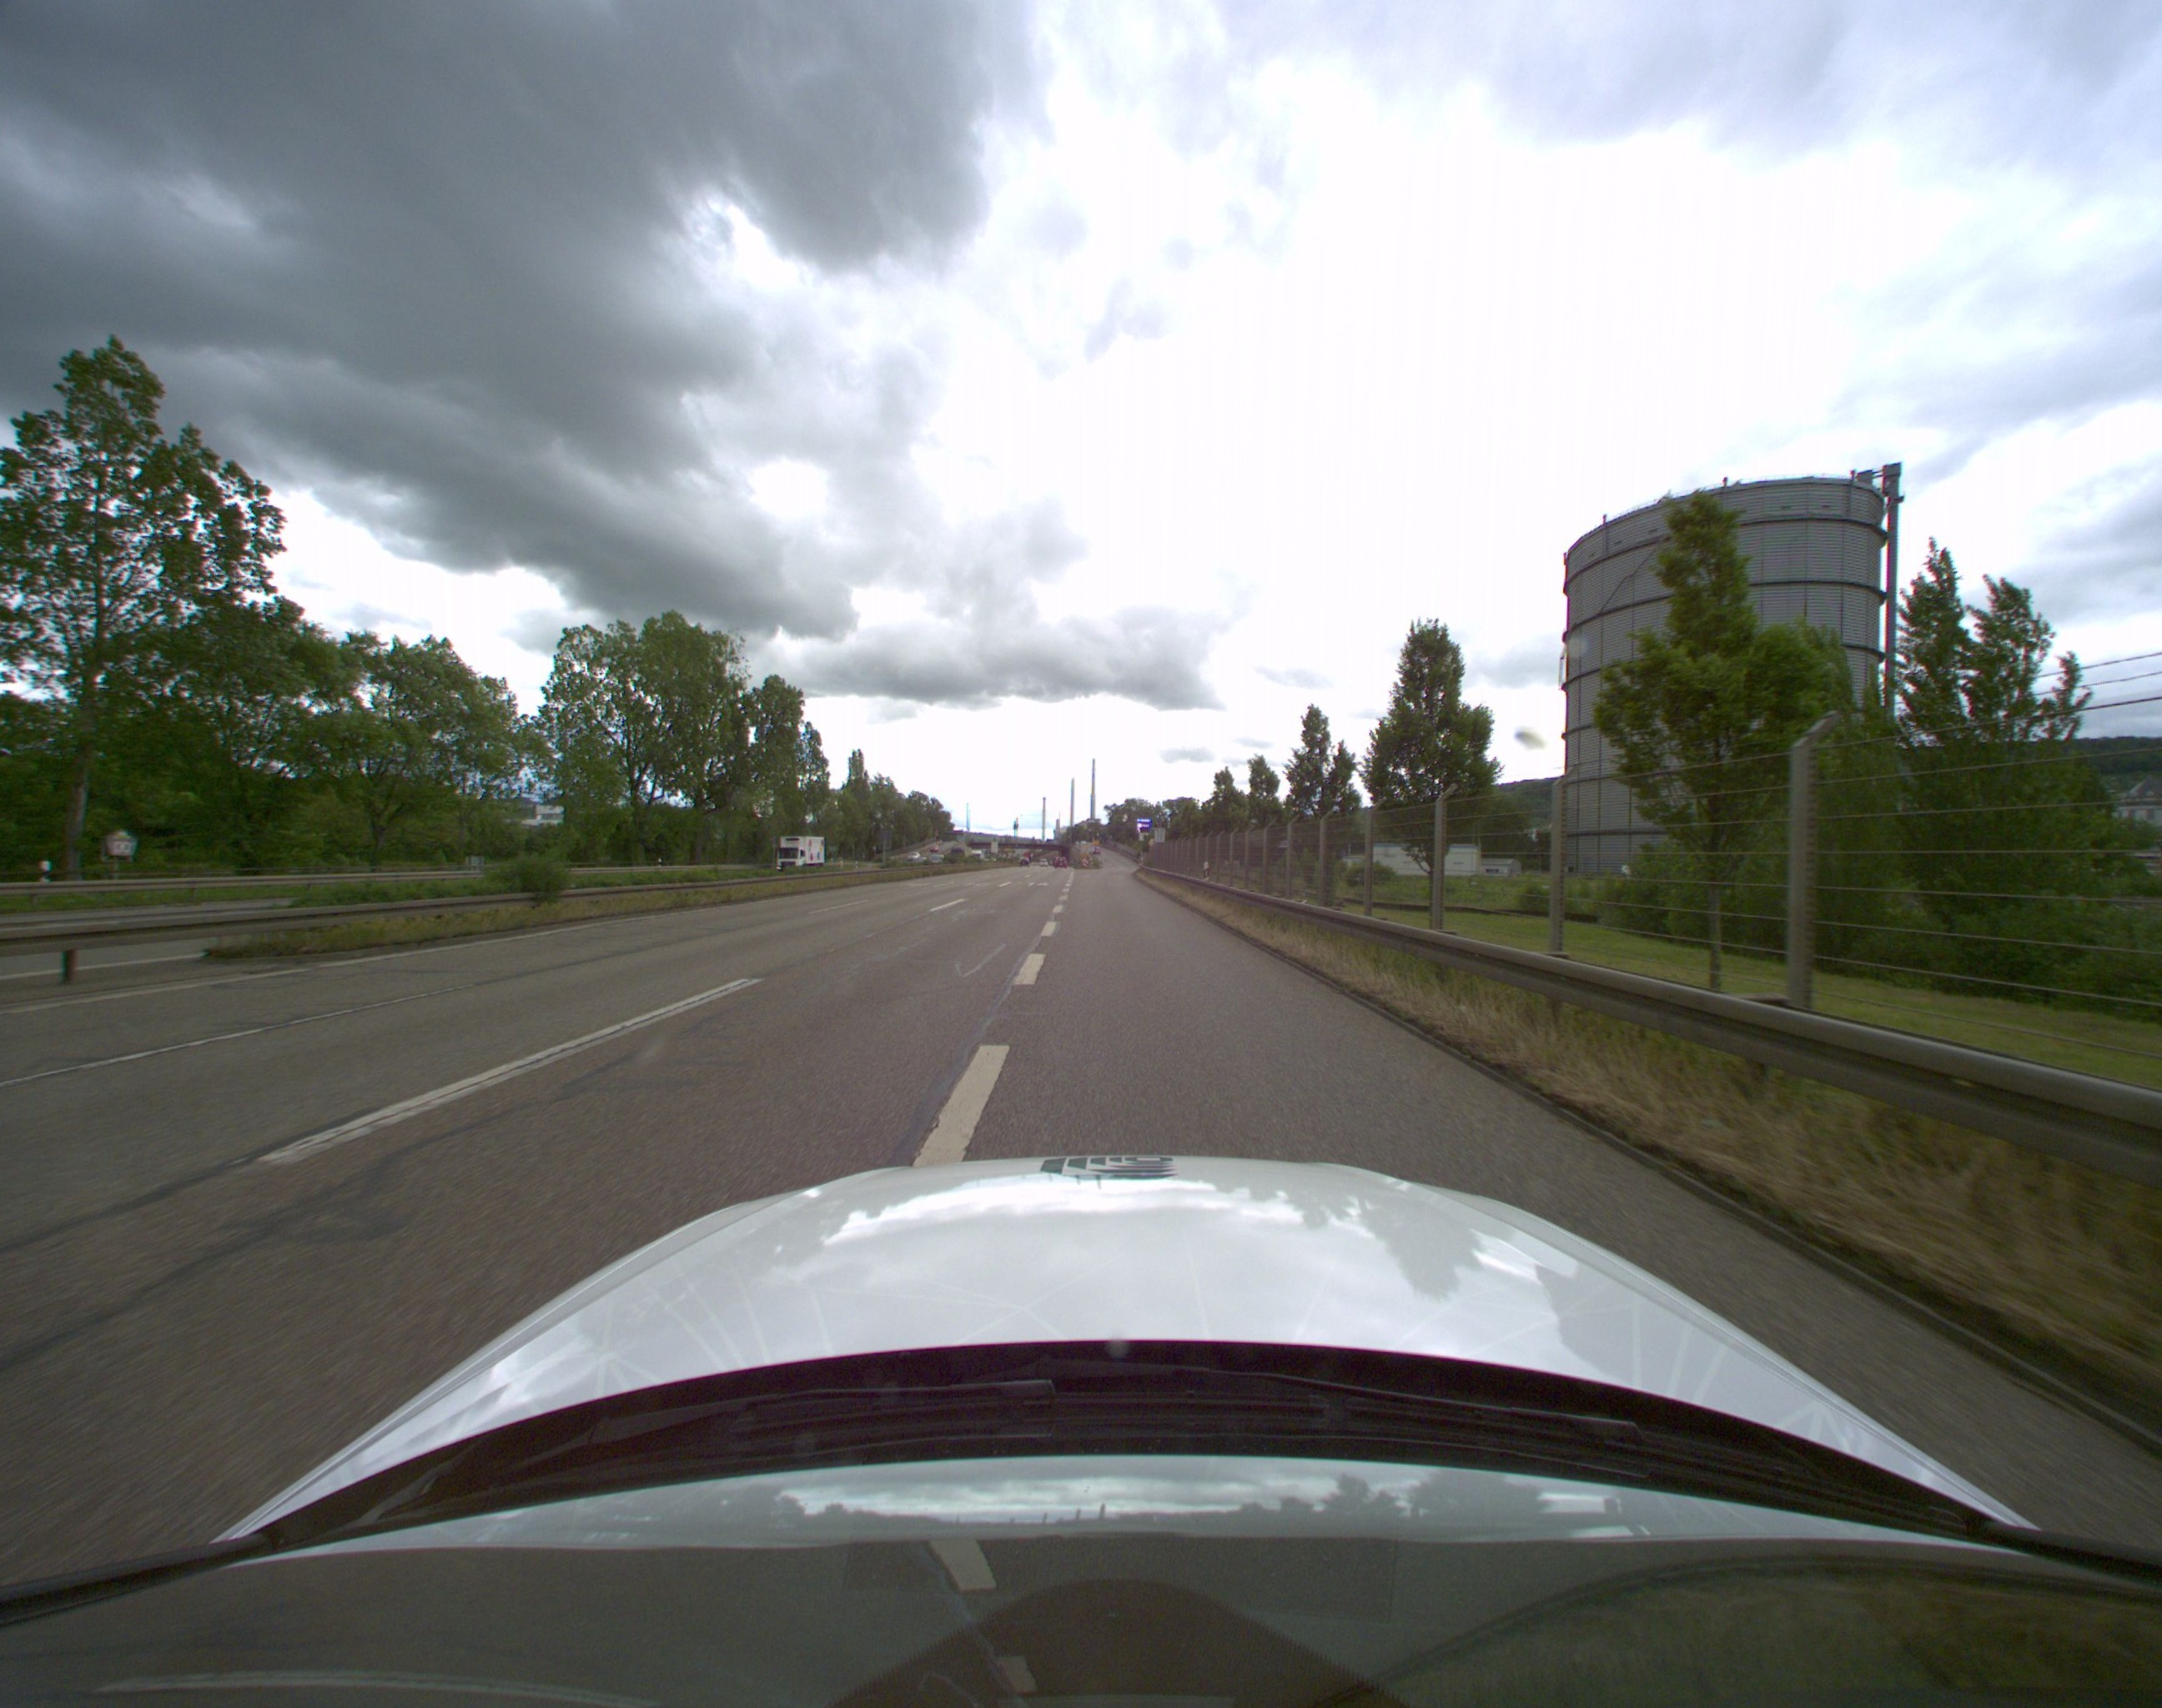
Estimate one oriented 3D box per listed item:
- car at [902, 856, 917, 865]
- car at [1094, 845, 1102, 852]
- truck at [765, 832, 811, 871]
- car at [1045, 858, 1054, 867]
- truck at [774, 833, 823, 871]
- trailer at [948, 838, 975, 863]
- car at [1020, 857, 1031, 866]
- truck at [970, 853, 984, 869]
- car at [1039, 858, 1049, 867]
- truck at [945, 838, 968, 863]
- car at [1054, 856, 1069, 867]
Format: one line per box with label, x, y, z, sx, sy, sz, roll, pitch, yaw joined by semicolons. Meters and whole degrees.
car;-32.025;1.227;152.434;1.989;1.644;4.598;2;0;-3
car;4.064;-1.324;197.393;1.742;1.580;4.088;-1;0;3
truck;-28.439;-0.220;79.171;2.978;3.643;3.995;2;0;-4
car;-8.041;2.140;207.527;1.915;2.013;3.993;2;0;-5
truck;-28.650;-0.204;82.838;2.976;3.643;6.329;2;0;-4
trailer;-23.980;-0.627;164.356;3.453;4.673;14.774;1;-1;-1
car;-11.071;1.432;161.985;1.987;1.684;3.999;2;0;0
truck;-26.081;1.728;204.091;2.783;3.937;5.307;2;-1;-2
car;-7.659;1.715;169.691;1.987;1.684;3.999;2;0;0
truck;-23.849;-0.701;156.471;3.453;4.673;6.208;1;-1;-1
car;-2.784;1.086;113.870;1.989;1.420;3.996;2;0;-3
